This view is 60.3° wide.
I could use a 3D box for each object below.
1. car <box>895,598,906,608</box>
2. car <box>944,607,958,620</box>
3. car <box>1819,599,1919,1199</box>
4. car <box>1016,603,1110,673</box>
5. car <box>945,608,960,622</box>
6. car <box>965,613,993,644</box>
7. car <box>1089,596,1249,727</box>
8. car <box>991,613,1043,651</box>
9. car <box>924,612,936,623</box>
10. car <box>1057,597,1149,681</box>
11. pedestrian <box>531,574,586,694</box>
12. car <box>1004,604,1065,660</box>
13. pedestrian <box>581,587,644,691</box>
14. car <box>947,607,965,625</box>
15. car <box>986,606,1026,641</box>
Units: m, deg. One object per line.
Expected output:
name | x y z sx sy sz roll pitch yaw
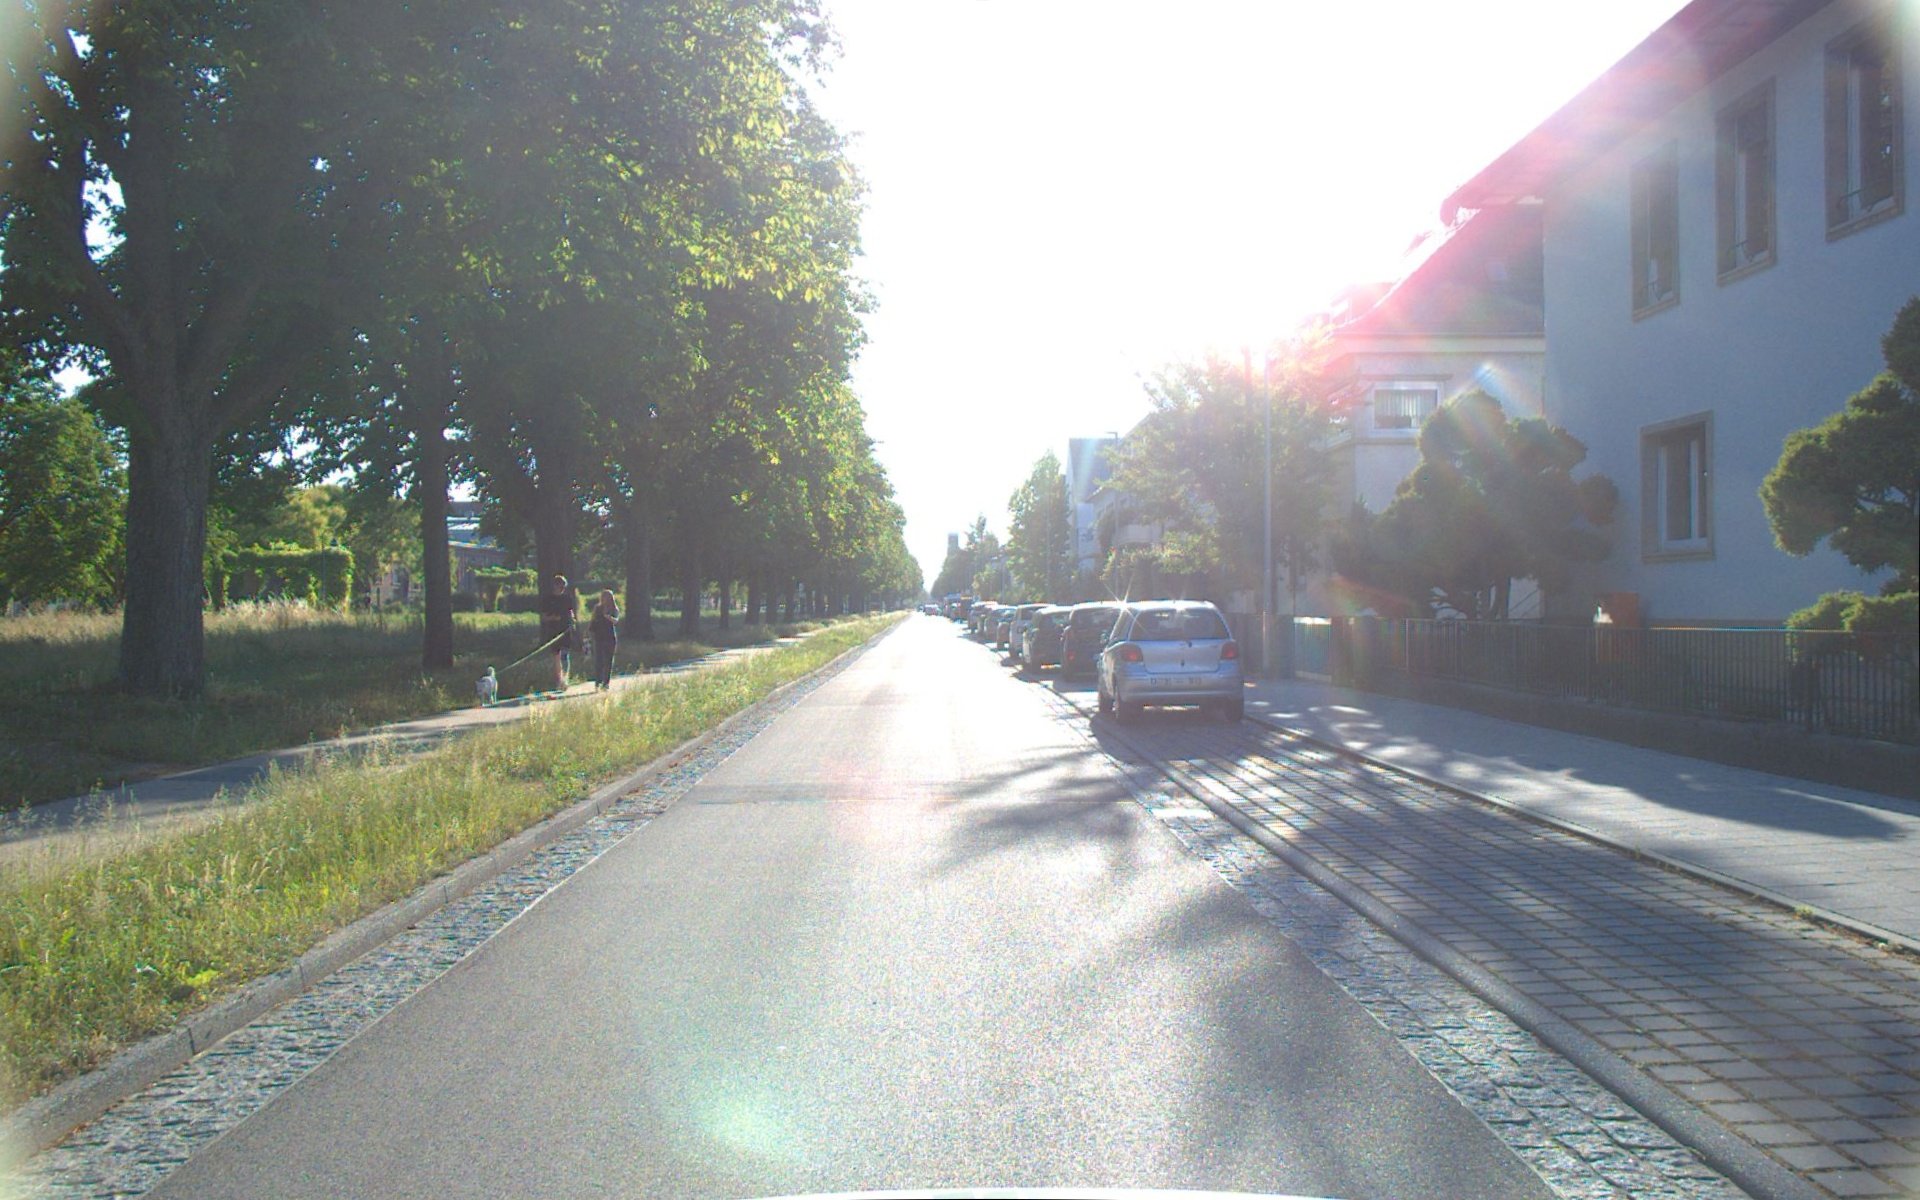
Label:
car | -9.421 0.435 261.453 1.618 1.568 3.265 1 0 -1
car | -1.045 1.608 195.929 1.618 1.568 3.266 1 0 0
car | 3.040 0.703 2.071 1.709 1.500 3.920 -3 0 -2
car | 2.331 0.859 38.389 1.702 1.474 4.195 -2 -1 -2
car | -0.868 1.725 190.671 1.618 1.568 3.266 1 0 0
car | 1.002 1.529 89.946 1.467 1.594 3.266 -1 0 0
car | 2.698 0.748 22.054 1.594 1.531 3.632 -2 0 0
car | 1.960 1.102 57.831 1.658 1.270 3.497 -1 0 0
car | -4.204 2.425 230.584 1.618 1.568 3.265 1 0 -1
car | 2.812 0.756 33.160 1.623 1.520 3.717 -2 -1 2
pedestrian | -6.385 0.529 26.314 0.611 1.863 0.886 0 0 2
car | 2.133 0.904 47.854 1.560 1.536 3.591 -1 0 0
pedestrian | -5.616 0.619 26.760 0.767 1.643 0.952 0 0 2
car | -0.379 1.451 151.756 1.618 1.568 3.266 1 0 0
car | 1.975 0.992 71.297 1.618 1.421 3.266 -1 0 0
